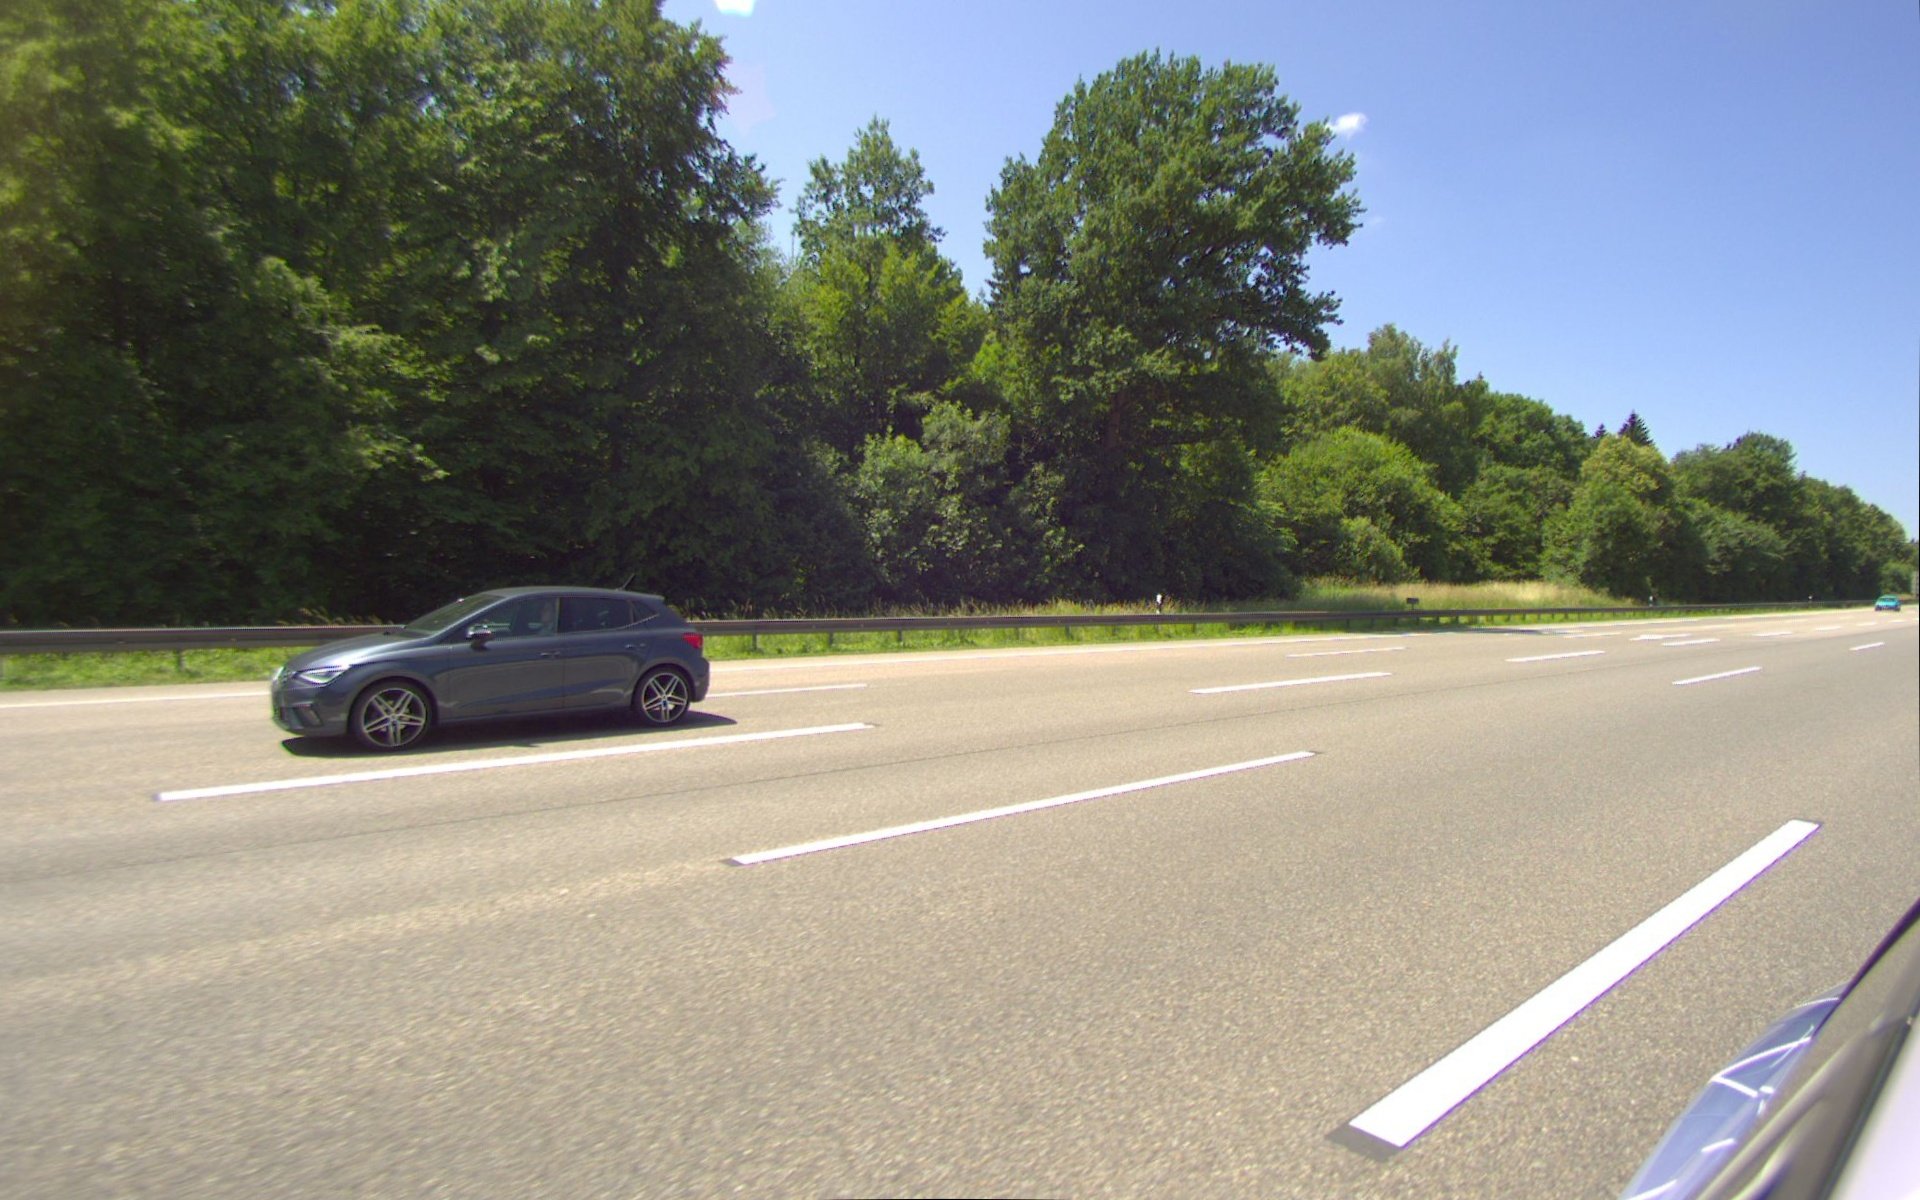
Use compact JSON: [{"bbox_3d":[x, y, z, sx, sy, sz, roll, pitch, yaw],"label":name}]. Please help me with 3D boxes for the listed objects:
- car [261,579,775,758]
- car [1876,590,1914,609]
[{"bbox_3d":[-4.309,0.556,10.374,4.554,1.457,1.646,0,0,-41],"label":"car"},{"bbox_3d":[88.842,-0.055,96.151,4.052,1.701,1.999,0,3,-39],"label":"car"}]
